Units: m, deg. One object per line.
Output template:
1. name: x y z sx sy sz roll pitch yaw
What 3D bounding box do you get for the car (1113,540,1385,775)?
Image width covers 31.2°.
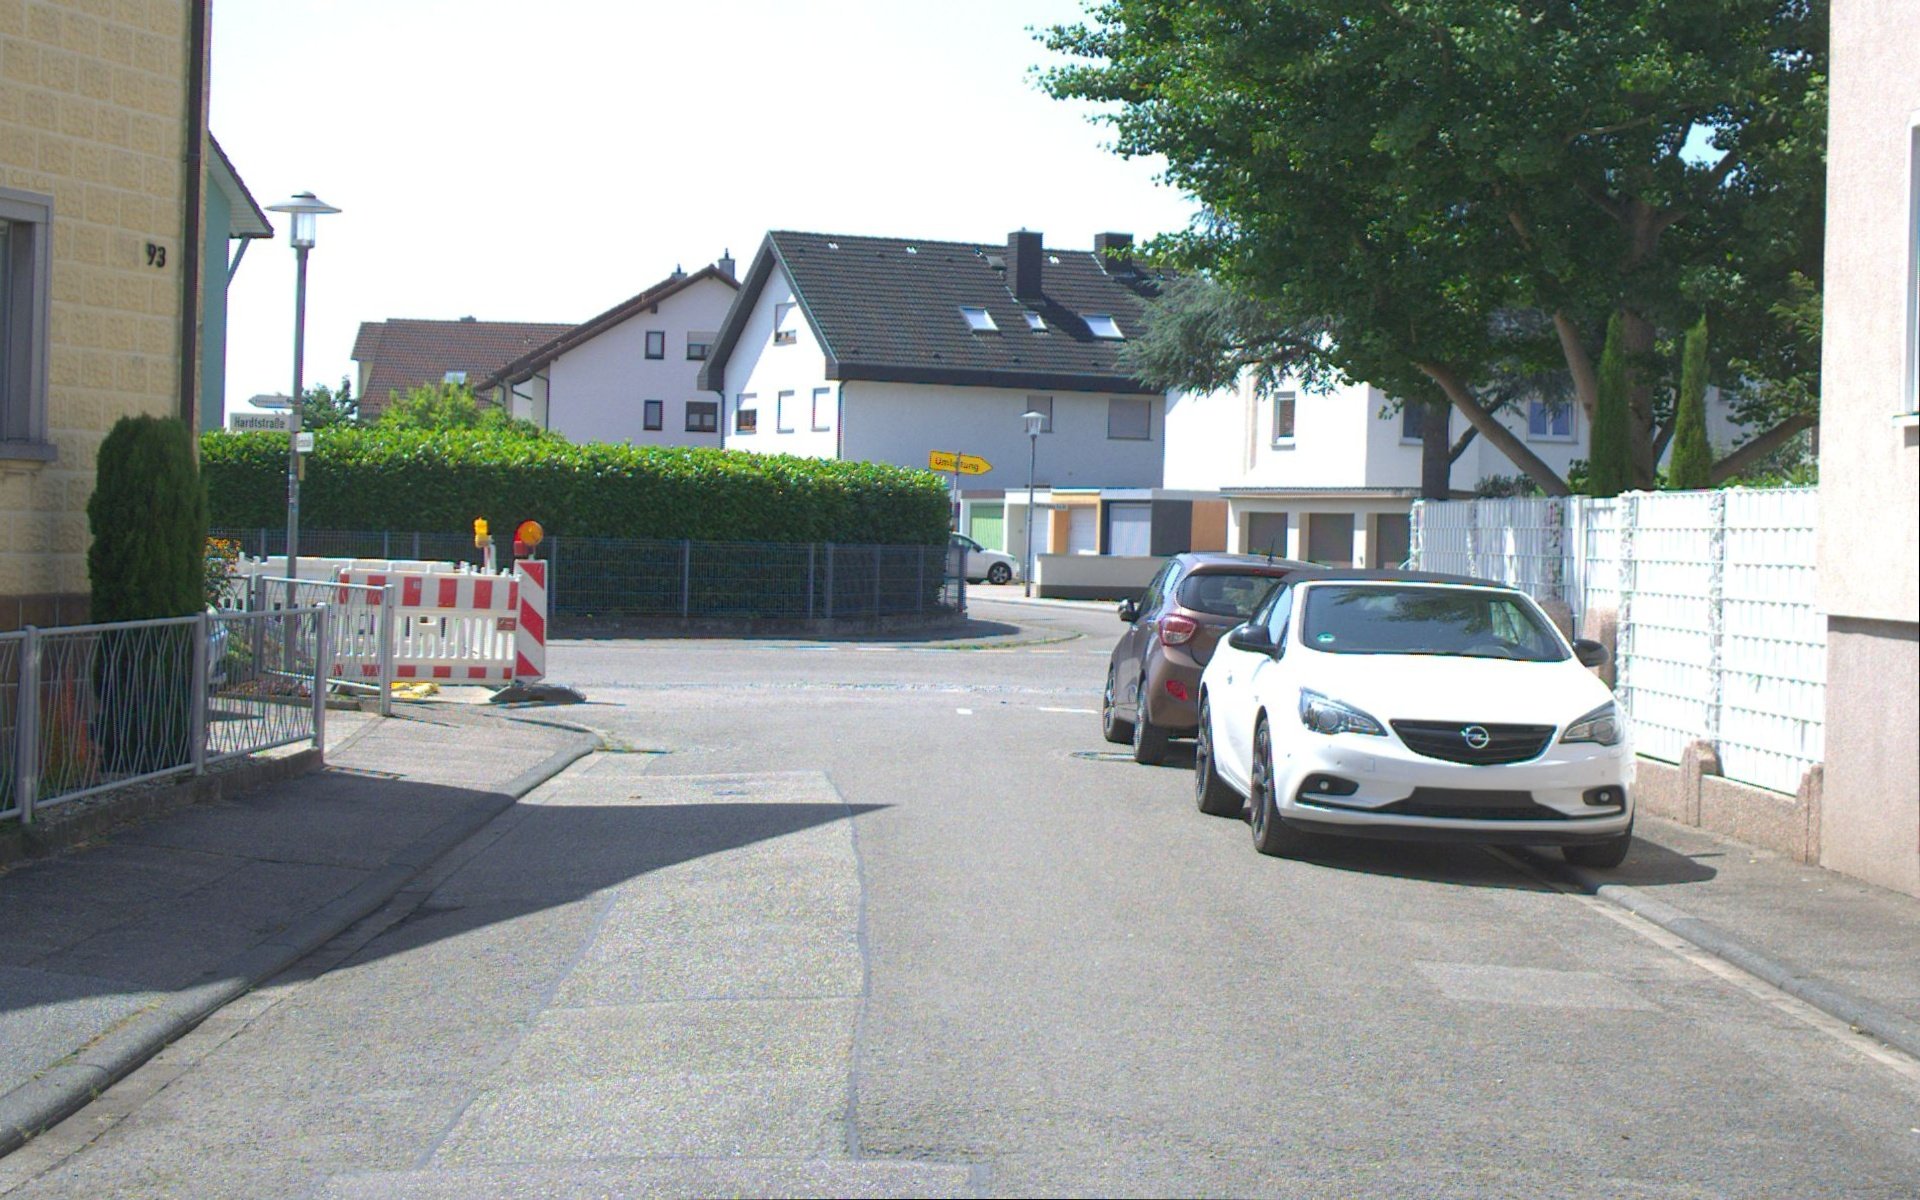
1. car: 2.062 0.362 25.493 1.712 1.527 4.035 3 1 2

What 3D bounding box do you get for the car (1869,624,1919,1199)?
1. car: 2.796 0.807 4.528 1.895 1.360 4.737 3 1 0

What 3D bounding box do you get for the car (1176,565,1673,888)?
1. car: 2.351 0.577 18.674 1.895 1.424 4.737 2 1 -1

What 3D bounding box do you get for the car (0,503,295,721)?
1. car: -7.299 0.008 25.706 4.466 1.480 1.789 3 1 31

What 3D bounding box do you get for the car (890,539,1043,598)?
1. car: 0.171 -0.840 91.373 3.598 1.403 1.784 2 1 -23

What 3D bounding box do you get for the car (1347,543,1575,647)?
1. car: 8.487 -0.111 58.573 1.797 1.557 4.144 2 1 -25
